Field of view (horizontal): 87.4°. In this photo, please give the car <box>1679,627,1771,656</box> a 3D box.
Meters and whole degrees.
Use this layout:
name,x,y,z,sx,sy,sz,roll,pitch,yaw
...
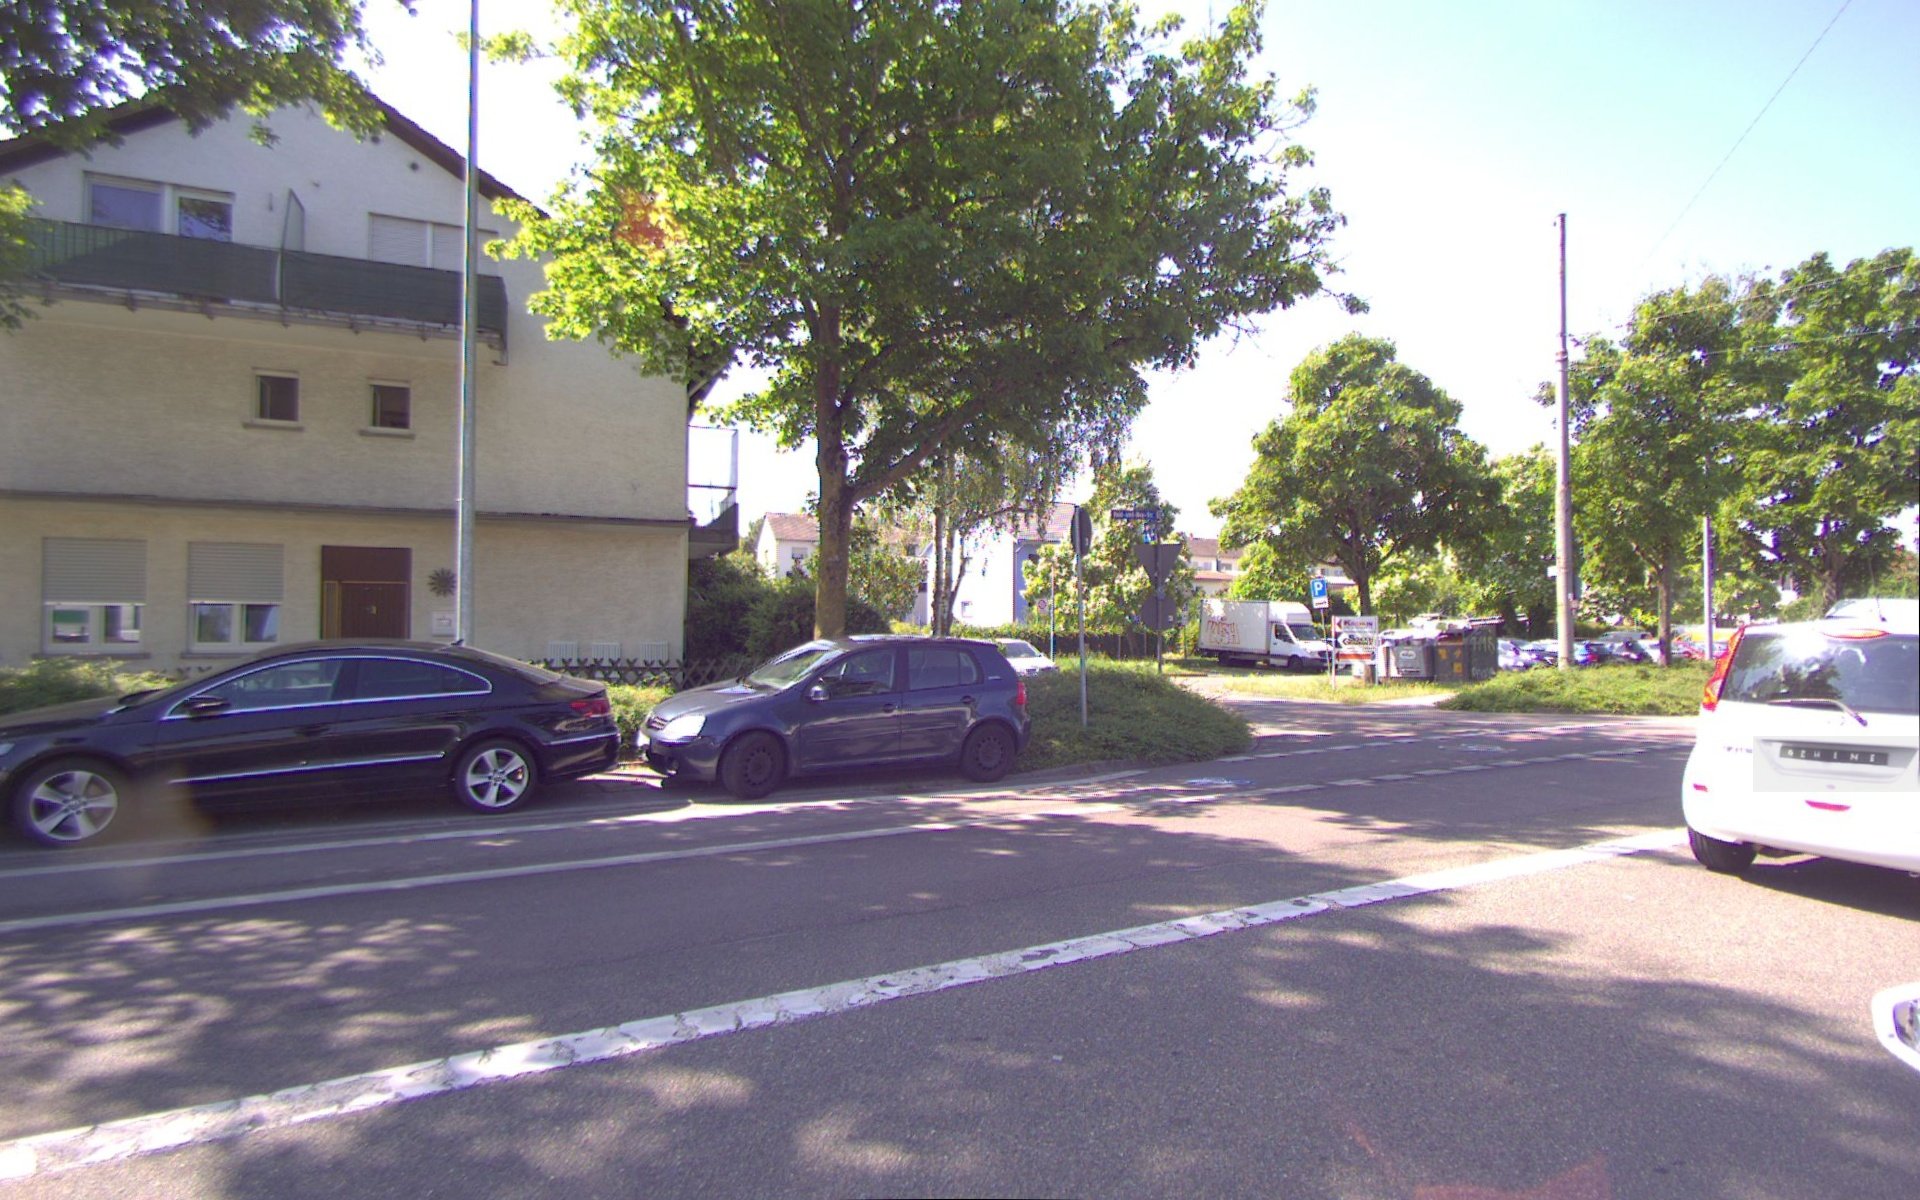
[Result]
name,x,y,z,sx,sy,sz,roll,pitch,yaw
car,54.419,2.906,71.543,2.043,1.811,4.762,2,0,-34

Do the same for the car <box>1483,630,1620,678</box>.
name,x,y,z,sx,sy,sz,roll,pitch,yaw
car,21.410,1.972,36.505,1.712,1.631,3.964,2,-4,-33

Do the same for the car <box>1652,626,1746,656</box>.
name,x,y,z,sx,sy,sz,roll,pitch,yaw
car,50.531,2.775,68.784,2.043,1.811,4.762,2,0,-34

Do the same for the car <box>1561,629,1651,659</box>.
name,x,y,z,sx,sy,sz,roll,pitch,yaw
car,44.513,2.990,69.294,2.043,1.811,4.762,2,0,-34

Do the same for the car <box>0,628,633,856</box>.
name,x,y,z,sx,sy,sz,roll,pitch,yaw
car,-5.277,1.003,8.375,4.568,1.434,1.854,1,0,-31

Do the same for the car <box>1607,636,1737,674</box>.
name,x,y,z,sx,sy,sz,roll,pitch,yaw
car,28.826,2.244,40.780,1.712,1.434,3.964,2,-4,-33

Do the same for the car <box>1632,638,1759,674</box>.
name,x,y,z,sx,sy,sz,roll,pitch,yaw
car,30.737,2.334,42.081,1.712,1.434,3.964,2,-4,-33

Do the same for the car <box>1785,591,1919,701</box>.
name,x,y,z,sx,sy,sz,roll,pitch,yaw
car,23.894,1.130,25.829,5.745,2.550,2.114,1,0,-29

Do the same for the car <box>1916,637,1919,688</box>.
name,x,y,z,sx,sy,sz,roll,pitch,yaw
car,29.427,1.821,28.775,4.230,1.434,1.854,1,0,-31

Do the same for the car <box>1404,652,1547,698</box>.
name,x,y,z,sx,sy,sz,roll,pitch,yaw
car,17.319,2.490,33.896,1.712,1.434,3.964,2,-4,-33

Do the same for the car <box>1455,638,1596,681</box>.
name,x,y,z,sx,sy,sz,roll,pitch,yaw
car,19.691,2.076,35.120,1.712,1.434,3.964,2,-4,-33

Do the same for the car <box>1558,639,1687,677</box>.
name,x,y,z,sx,sy,sz,roll,pitch,yaw
car,26.346,2.327,40.056,1.712,1.434,3.964,2,-4,-33

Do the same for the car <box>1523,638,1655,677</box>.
name,x,y,z,sx,sy,sz,roll,pitch,yaw
car,24.167,2.213,38.712,1.712,1.434,3.964,2,-4,-33

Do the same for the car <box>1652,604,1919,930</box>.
name,x,y,z,sx,sy,sz,roll,pitch,yaw
car,6.401,0.849,6.261,4.491,1.568,1.655,1,-1,-29

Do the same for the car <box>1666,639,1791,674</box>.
name,x,y,z,sx,sy,sz,roll,pitch,yaw
car,33.159,2.447,43.451,1.712,1.434,3.964,2,-4,-33

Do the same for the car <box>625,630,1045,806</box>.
name,x,y,z,sx,sy,sz,roll,pitch,yaw
car,-1.268,1.094,10.464,3.988,1.462,1.718,1,0,-28

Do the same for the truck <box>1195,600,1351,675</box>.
name,x,y,z,sx,sy,sz,roll,pitch,yaw
truck,14.412,1.616,46.835,2.646,3.151,6.967,1,0,-30

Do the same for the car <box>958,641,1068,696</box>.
name,x,y,z,sx,sy,sz,roll,pitch,yaw
car,1.408,1.917,28.438,1.704,1.434,3.983,1,-3,-20

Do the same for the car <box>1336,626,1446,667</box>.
name,x,y,z,sx,sy,sz,roll,pitch,yaw
car,21.654,2.325,50.683,2.043,1.811,4.762,2,0,-34
